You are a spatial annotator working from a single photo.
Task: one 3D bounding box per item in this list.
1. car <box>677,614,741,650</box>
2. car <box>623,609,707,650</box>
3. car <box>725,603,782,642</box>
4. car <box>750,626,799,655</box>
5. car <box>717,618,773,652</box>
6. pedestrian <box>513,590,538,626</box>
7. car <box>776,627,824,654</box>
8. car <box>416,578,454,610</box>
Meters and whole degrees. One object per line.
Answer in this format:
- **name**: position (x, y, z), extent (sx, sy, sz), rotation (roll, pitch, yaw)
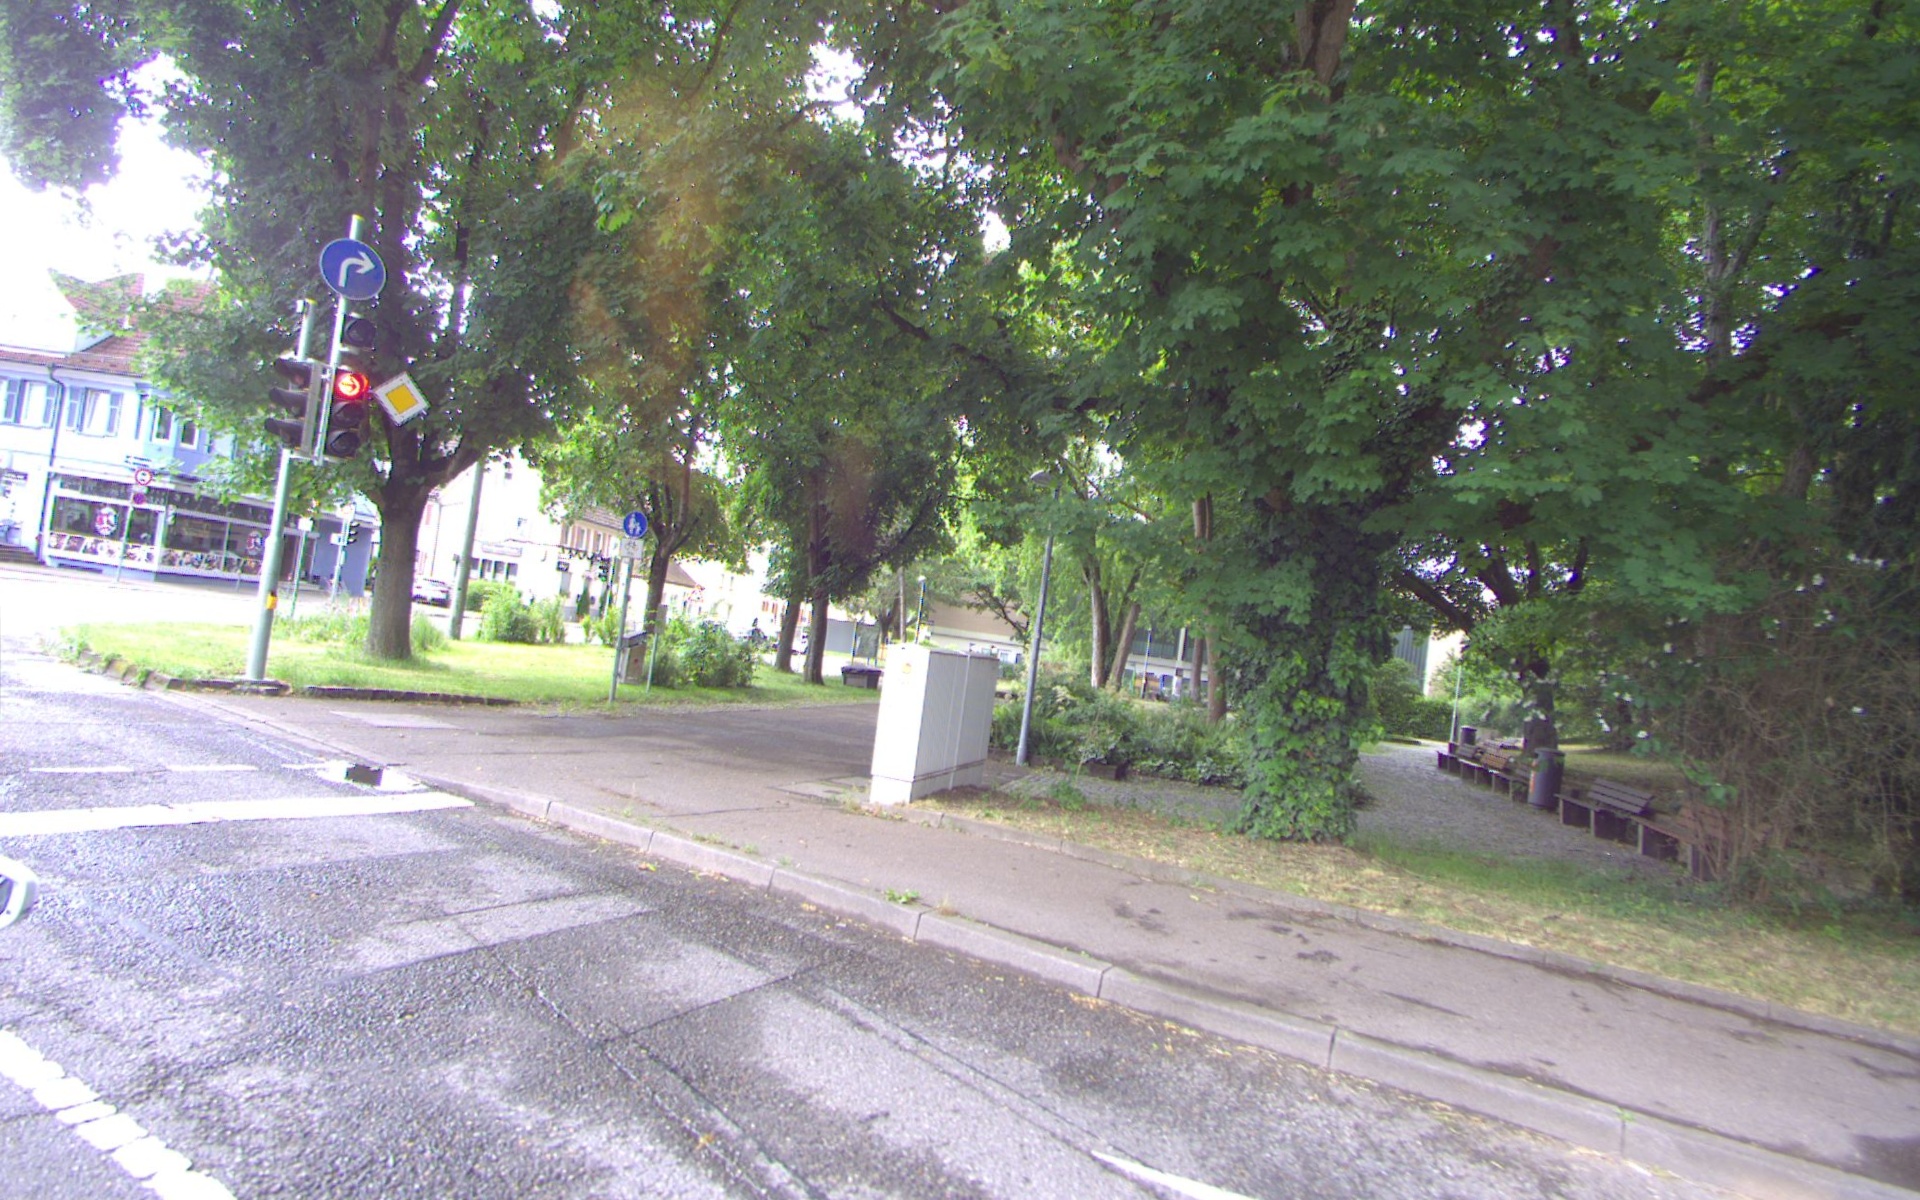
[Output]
- **car**: position (-12.560, 1.624, 50.597), extent (1.767, 1.472, 3.964), rotation (7, -3, 6)
- **car**: position (-13.098, 1.353, 44.945), extent (1.864, 1.472, 4.553), rotation (7, -3, 6)
- **car**: position (-15.695, 1.771, 76.944), extent (2.292, 2.419, 5.967), rotation (7, -3, 6)
- **car**: position (-11.008, 2.439, 59.884), extent (1.706, 1.406, 3.746), rotation (7, -3, 6)
- **car**: position (-11.706, 1.933, 54.978), extent (1.838, 1.589, 4.004), rotation (7, -2, 4)
- **pedestrian**: position (-22.190, 0.425, 51.402), extent (0.743, 1.716, 0.647), rotation (7, -1, 3)
- **car**: position (-10.543, 2.686, 66.586), extent (1.888, 1.472, 4.408), rotation (7, -3, 6)
- **car**: position (-27.722, -0.334, 53.164), extent (1.553, 1.478, 3.418), rotation (9, -3, -27)
